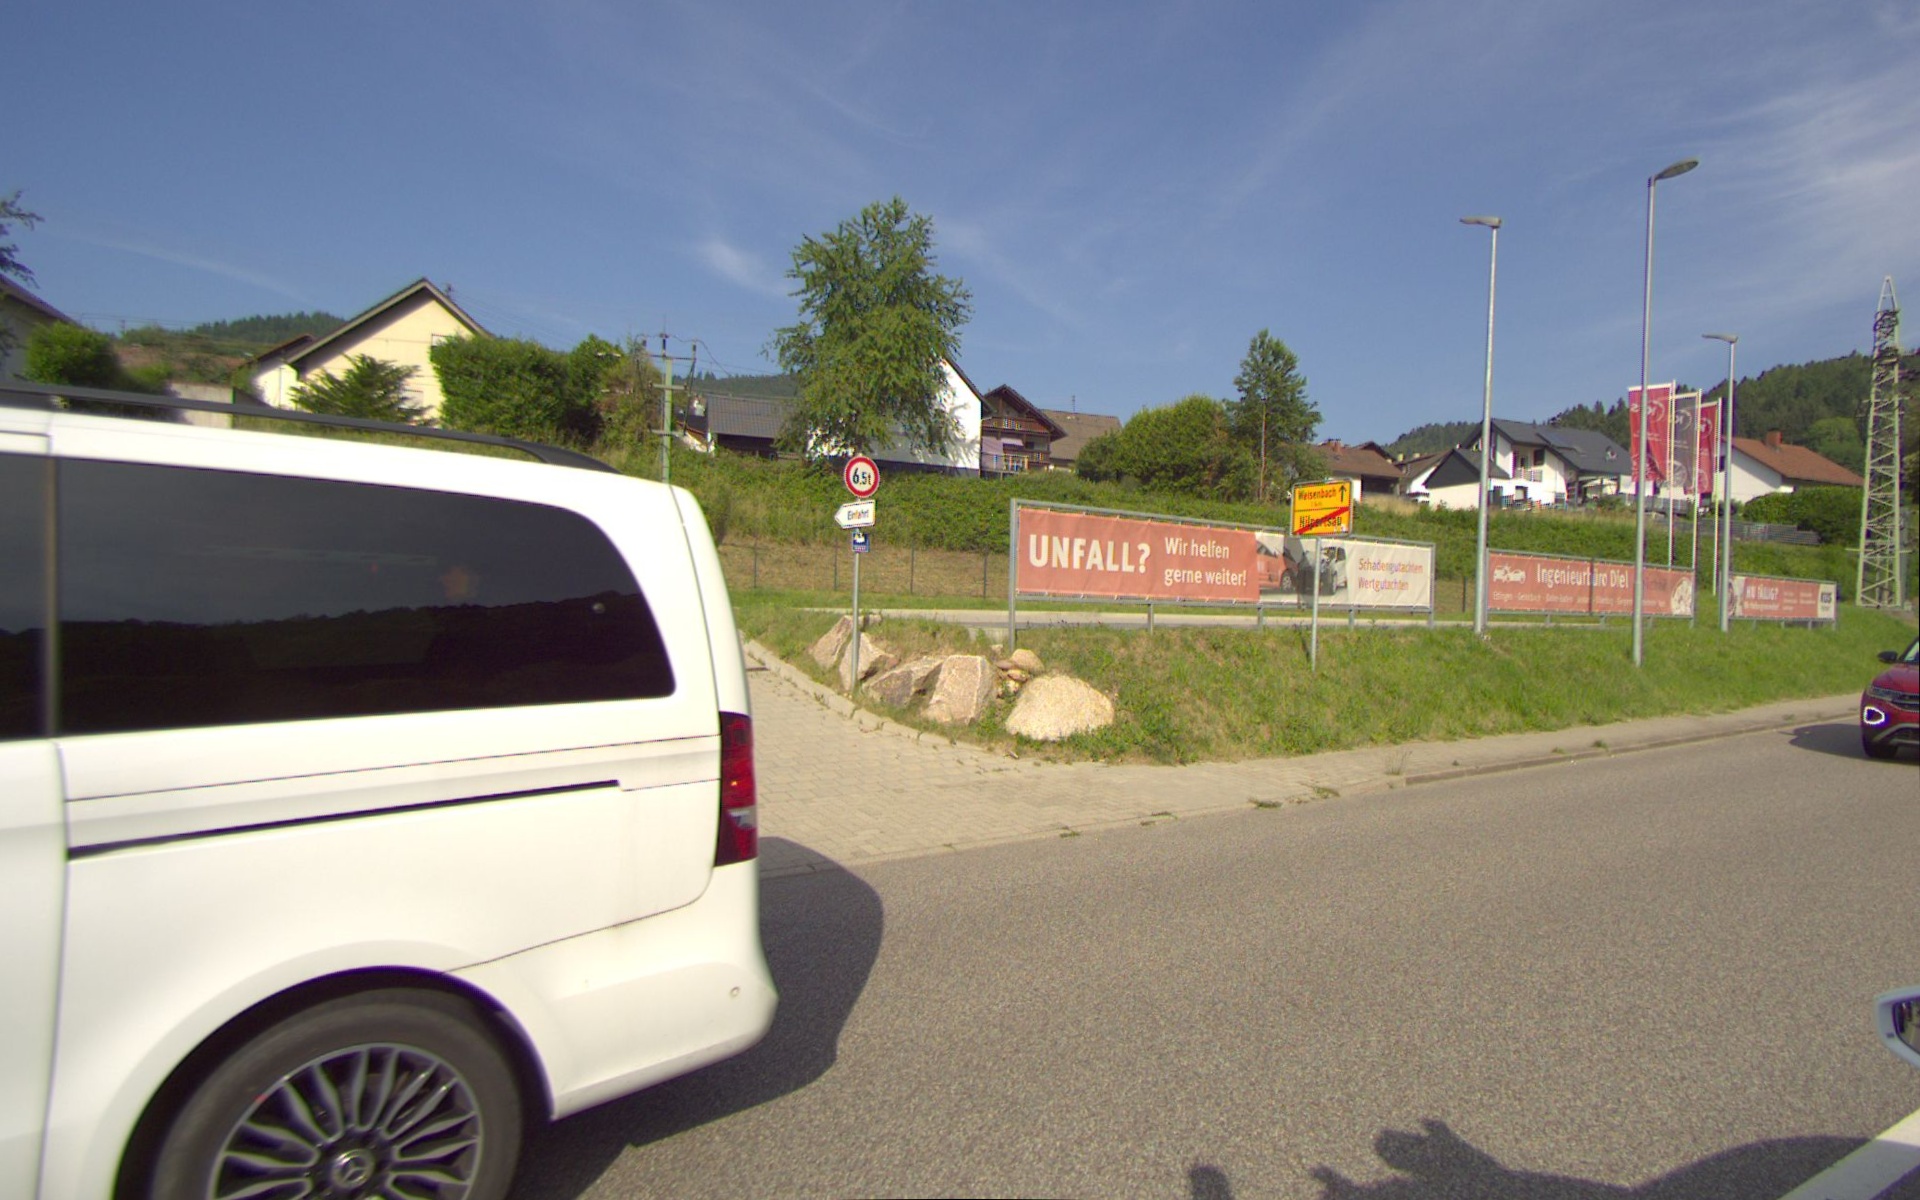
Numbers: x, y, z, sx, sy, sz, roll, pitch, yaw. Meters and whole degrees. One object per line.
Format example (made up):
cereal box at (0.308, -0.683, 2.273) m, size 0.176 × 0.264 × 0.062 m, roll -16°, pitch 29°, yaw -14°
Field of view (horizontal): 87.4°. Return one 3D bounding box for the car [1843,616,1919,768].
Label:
car at (11.943, 1.002, 11.572) m, size 4.116 × 1.604 × 1.695 m, roll 1°, pitch -2°, yaw -34°

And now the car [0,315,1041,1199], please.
car at (-2.476, 0.490, 2.195) m, size 5.238 × 1.912 × 1.886 m, roll 1°, pitch -1°, yaw -33°
